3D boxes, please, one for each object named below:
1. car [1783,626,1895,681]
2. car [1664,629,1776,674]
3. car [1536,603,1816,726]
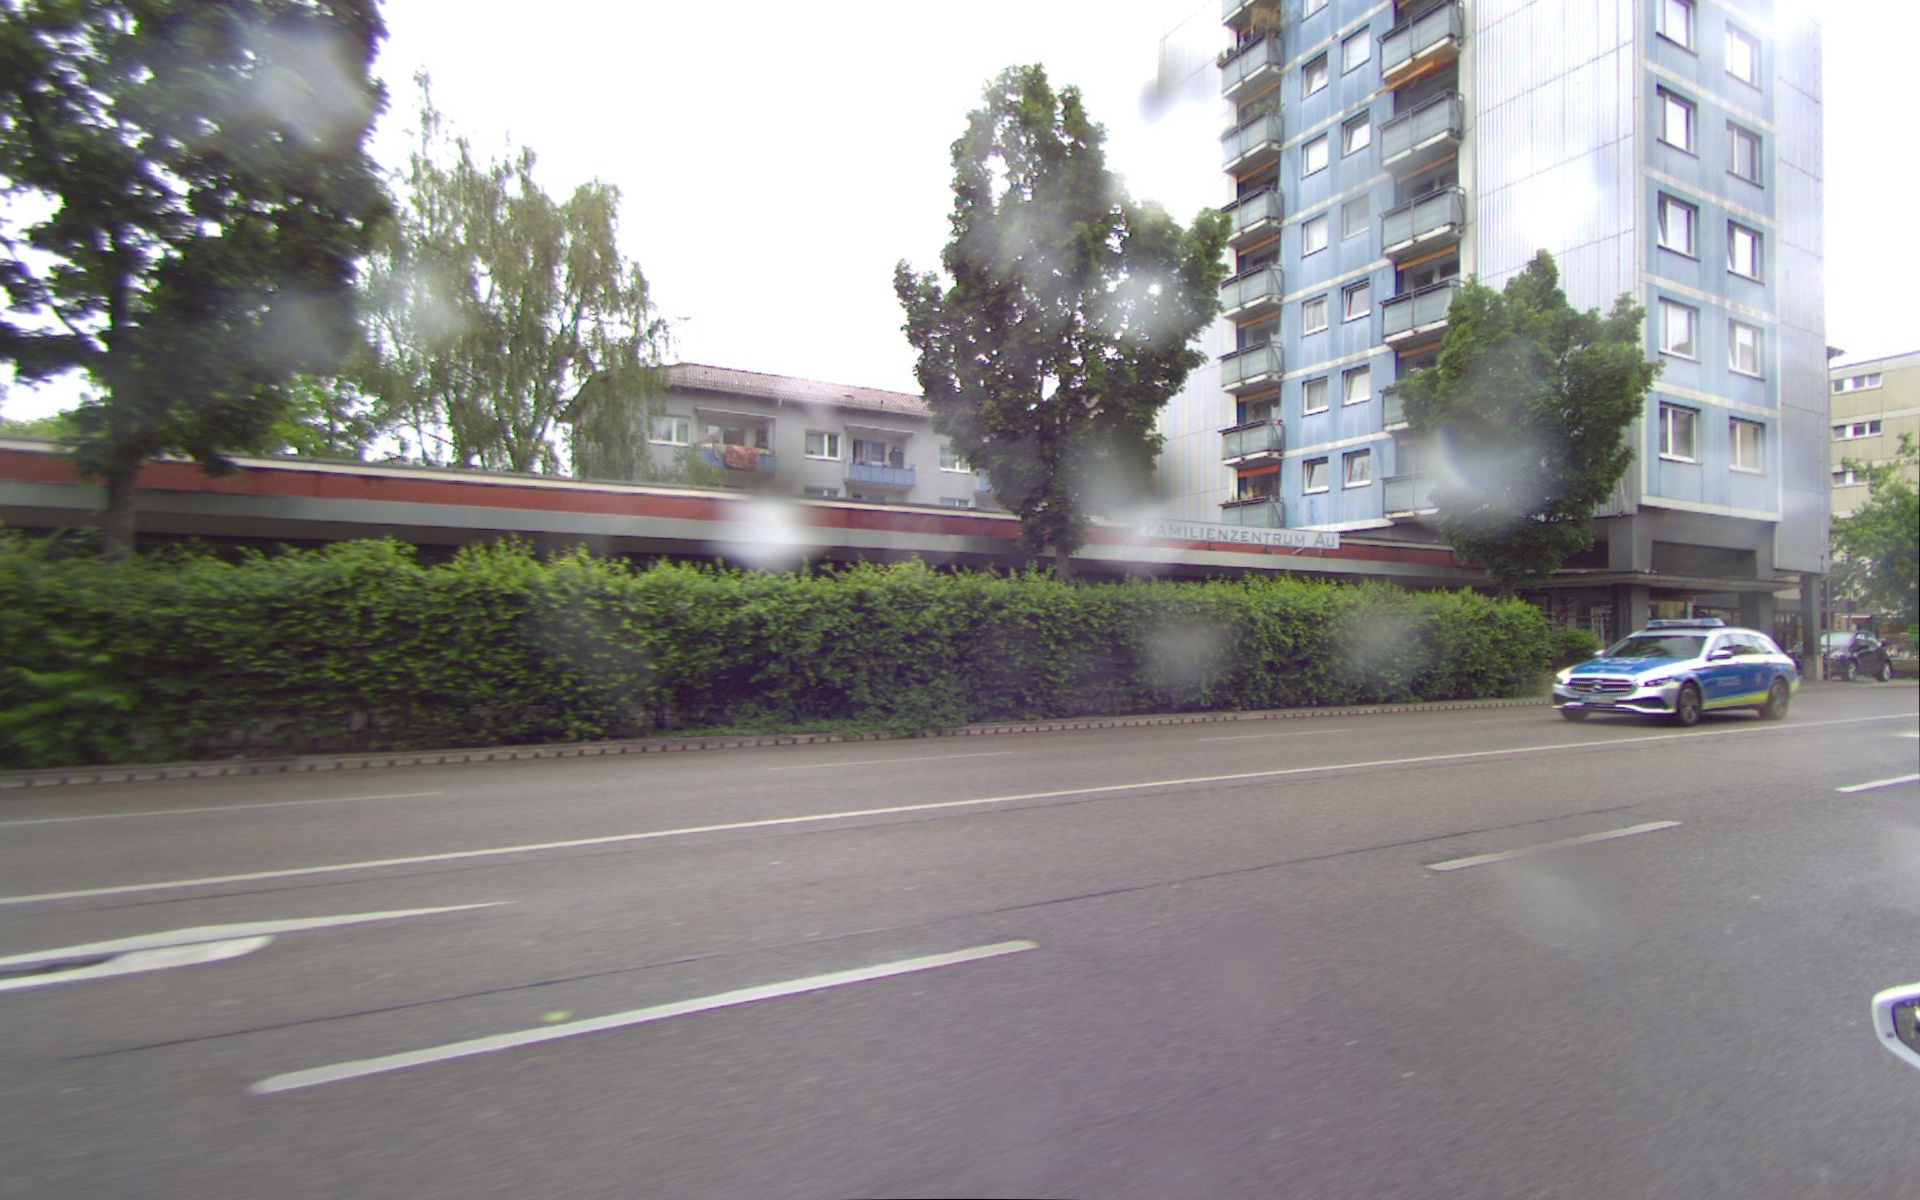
[{"bbox_3d":[29.404,1.758,33.590,4.236,1.728,1.532,1,-1,-30],"label":"car"},{"bbox_3d":[29.901,1.991,39.492,4.458,1.676,1.984,2,-2,-31],"label":"car"},{"bbox_3d":[11.921,1.029,16.668,4.750,1.773,1.985,1,-3,-30],"label":"car"}]
